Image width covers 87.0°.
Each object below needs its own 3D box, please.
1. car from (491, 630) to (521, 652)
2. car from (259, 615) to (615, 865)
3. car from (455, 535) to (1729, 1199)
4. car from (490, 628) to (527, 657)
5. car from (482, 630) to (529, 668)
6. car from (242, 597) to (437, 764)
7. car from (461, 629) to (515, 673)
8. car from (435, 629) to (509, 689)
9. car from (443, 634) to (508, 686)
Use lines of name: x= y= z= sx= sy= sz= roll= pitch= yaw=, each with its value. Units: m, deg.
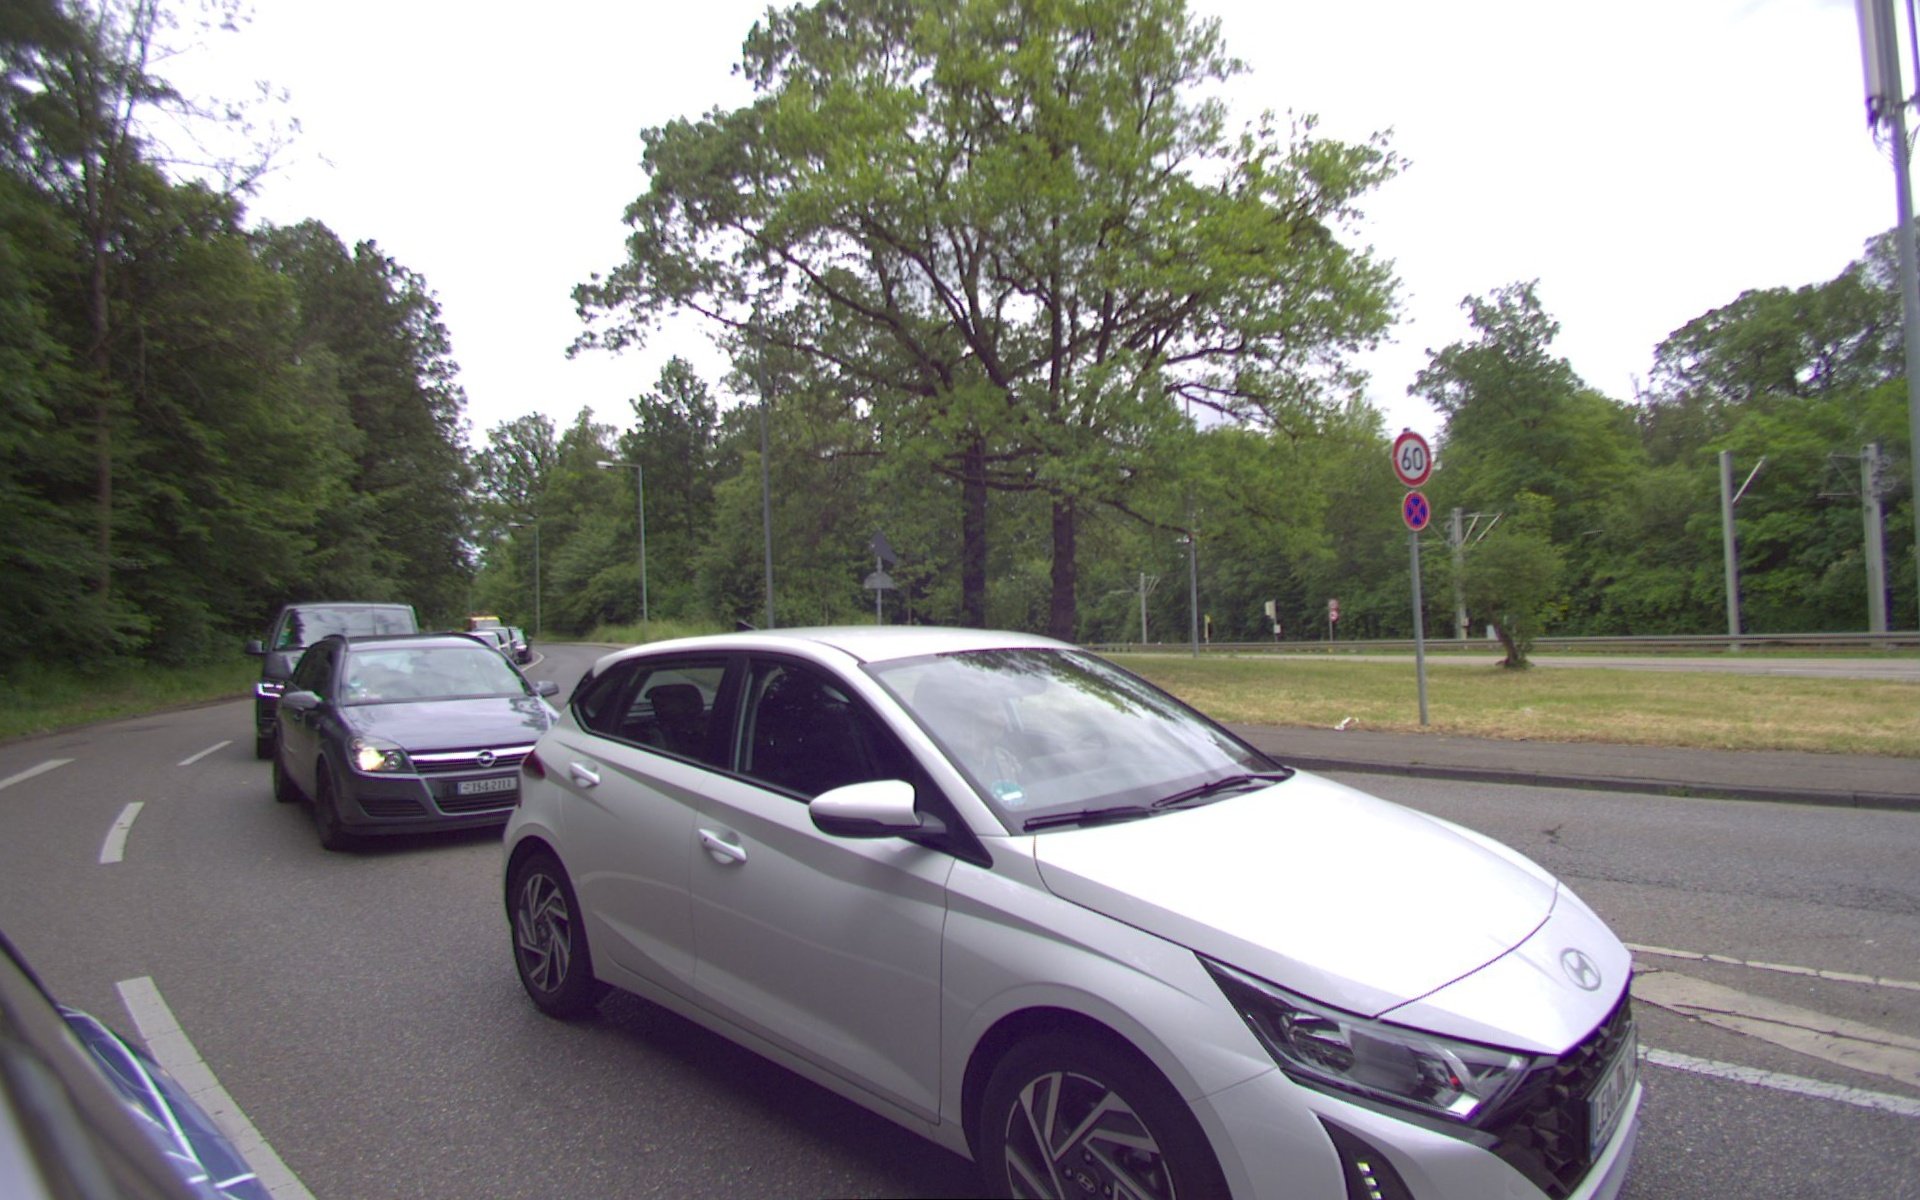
car: x=-31.830 y=2.862 z=70.979 sx=1.749 sy=1.511 sz=3.885 roll=-1 pitch=-2 yaw=-22
car: x=-4.571 y=0.934 z=8.436 sx=1.775 sy=1.490 sz=4.478 roll=0 pitch=-2 yaw=-39
car: x=-0.069 y=0.729 z=3.421 sx=4.073 sy=1.490 sz=1.631 roll=-3 pitch=-2 yaw=43
car: x=-25.474 y=2.395 z=57.149 sx=1.749 sy=1.511 sz=3.885 roll=-1 pitch=-2 yaw=-22
car: x=-19.387 y=2.069 z=43.132 sx=1.748 sy=1.511 sz=3.885 roll=0 pitch=-2 yaw=-25
car: x=-8.397 y=0.986 z=13.959 sx=1.957 sy=1.887 sz=4.545 roll=0 pitch=-2 yaw=-29
car: x=-17.647 y=1.887 z=37.873 sx=1.748 sy=1.511 sz=3.885 roll=0 pitch=-2 yaw=-25
car: x=-13.656 y=1.612 z=28.428 sx=1.748 sy=1.511 sz=3.885 roll=0 pitch=-2 yaw=-25
car: x=-15.392 y=1.860 z=32.226 sx=1.748 sy=1.511 sz=3.885 roll=0 pitch=-2 yaw=-25
